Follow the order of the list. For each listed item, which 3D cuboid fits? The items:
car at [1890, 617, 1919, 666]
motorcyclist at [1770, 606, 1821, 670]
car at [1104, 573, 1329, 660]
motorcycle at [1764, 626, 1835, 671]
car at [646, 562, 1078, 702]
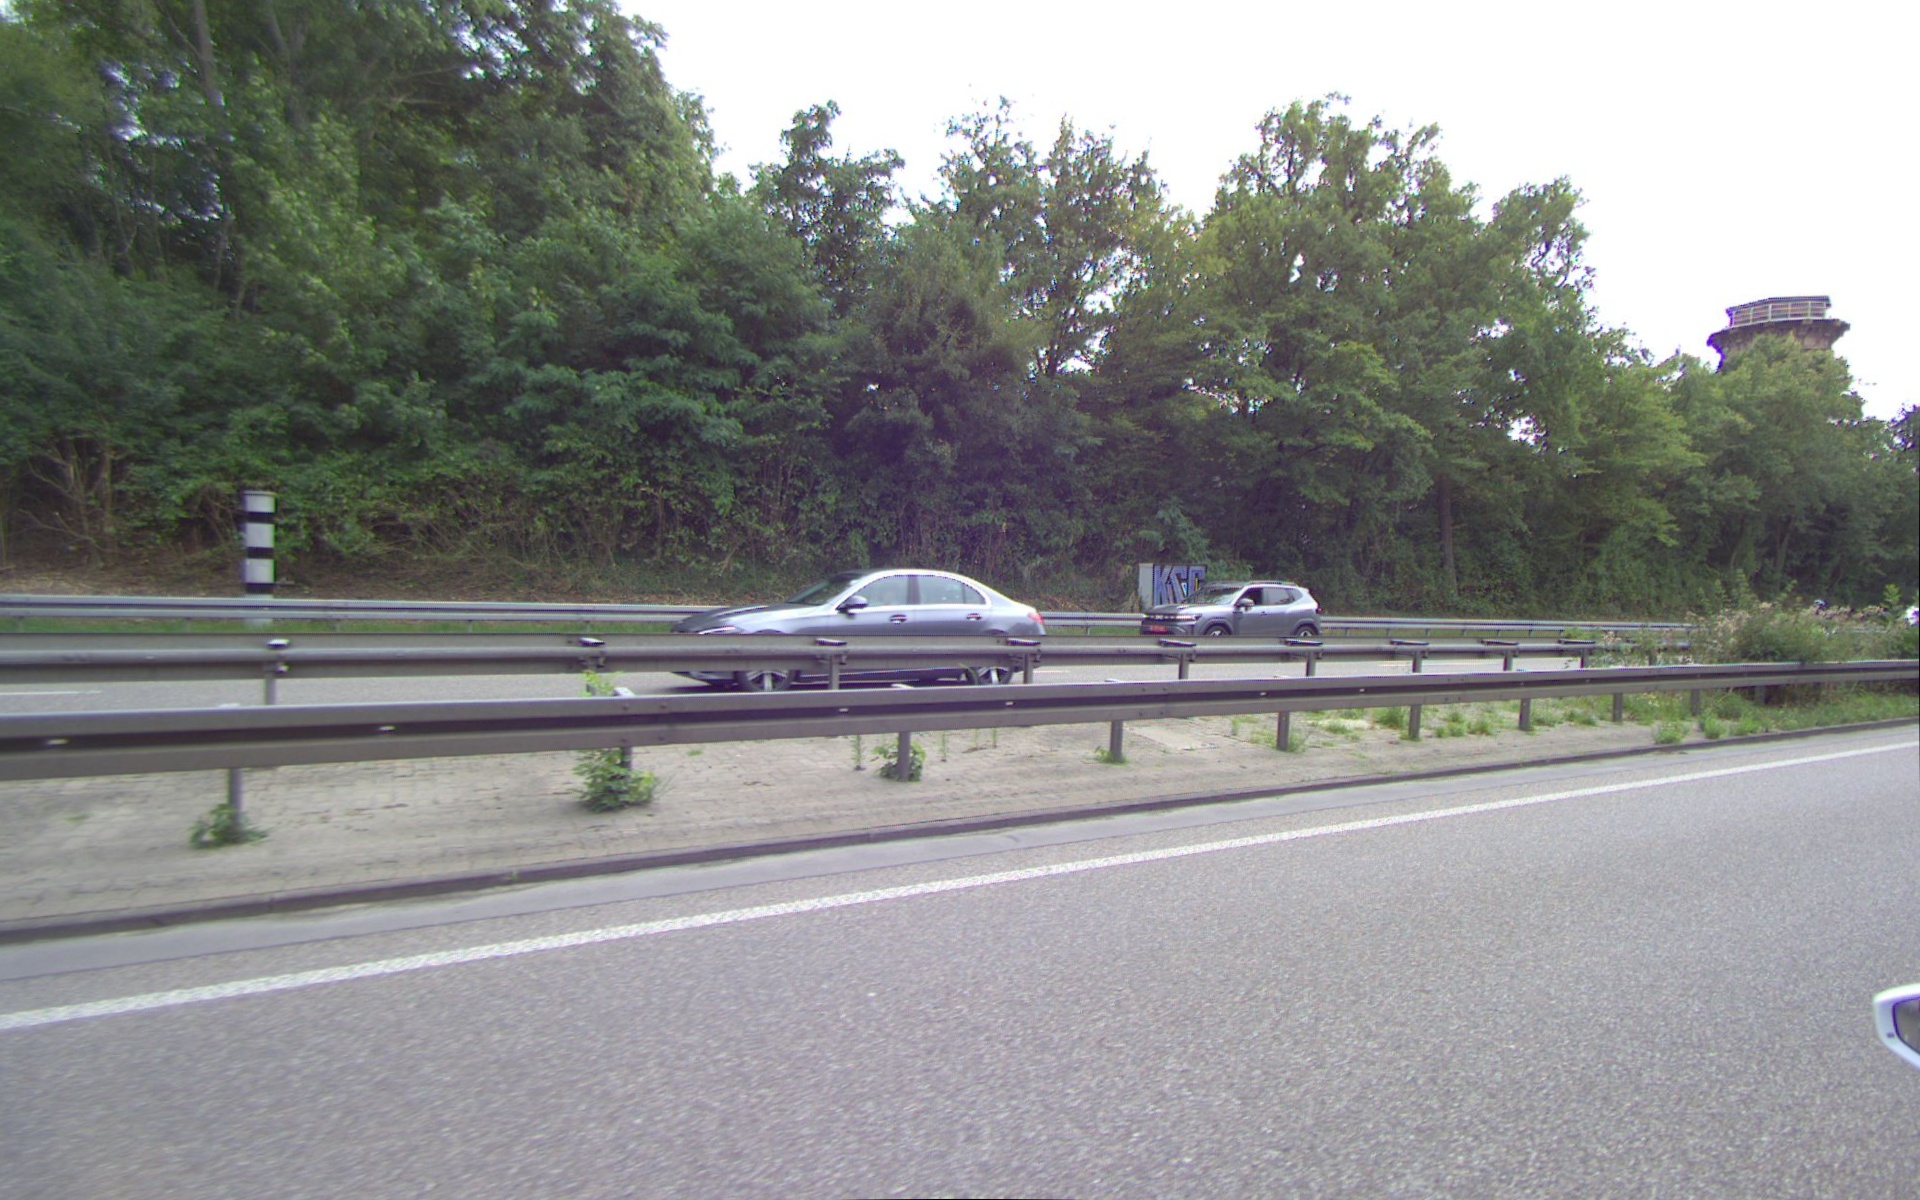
[{"bbox_3d":[42.485,1.824,43.563,5.242,2.040,1.787,2,0,-31],"label":"car"},{"bbox_3d":[21.231,0.959,25.525,0.836,1.570,0.677,1,2,-31],"label":"motorcyclist"},{"bbox_3d":[5.457,0.372,21.213,4.585,1.674,1.884,2,0,-30],"label":"car"},{"bbox_3d":[21.501,1.240,25.716,2.171,1.081,0.698,2,0,-31],"label":"motorcycle"},{"bbox_3d":[-1.062,0.381,11.996,4.879,1.399,1.681,2,0,-30],"label":"car"}]
